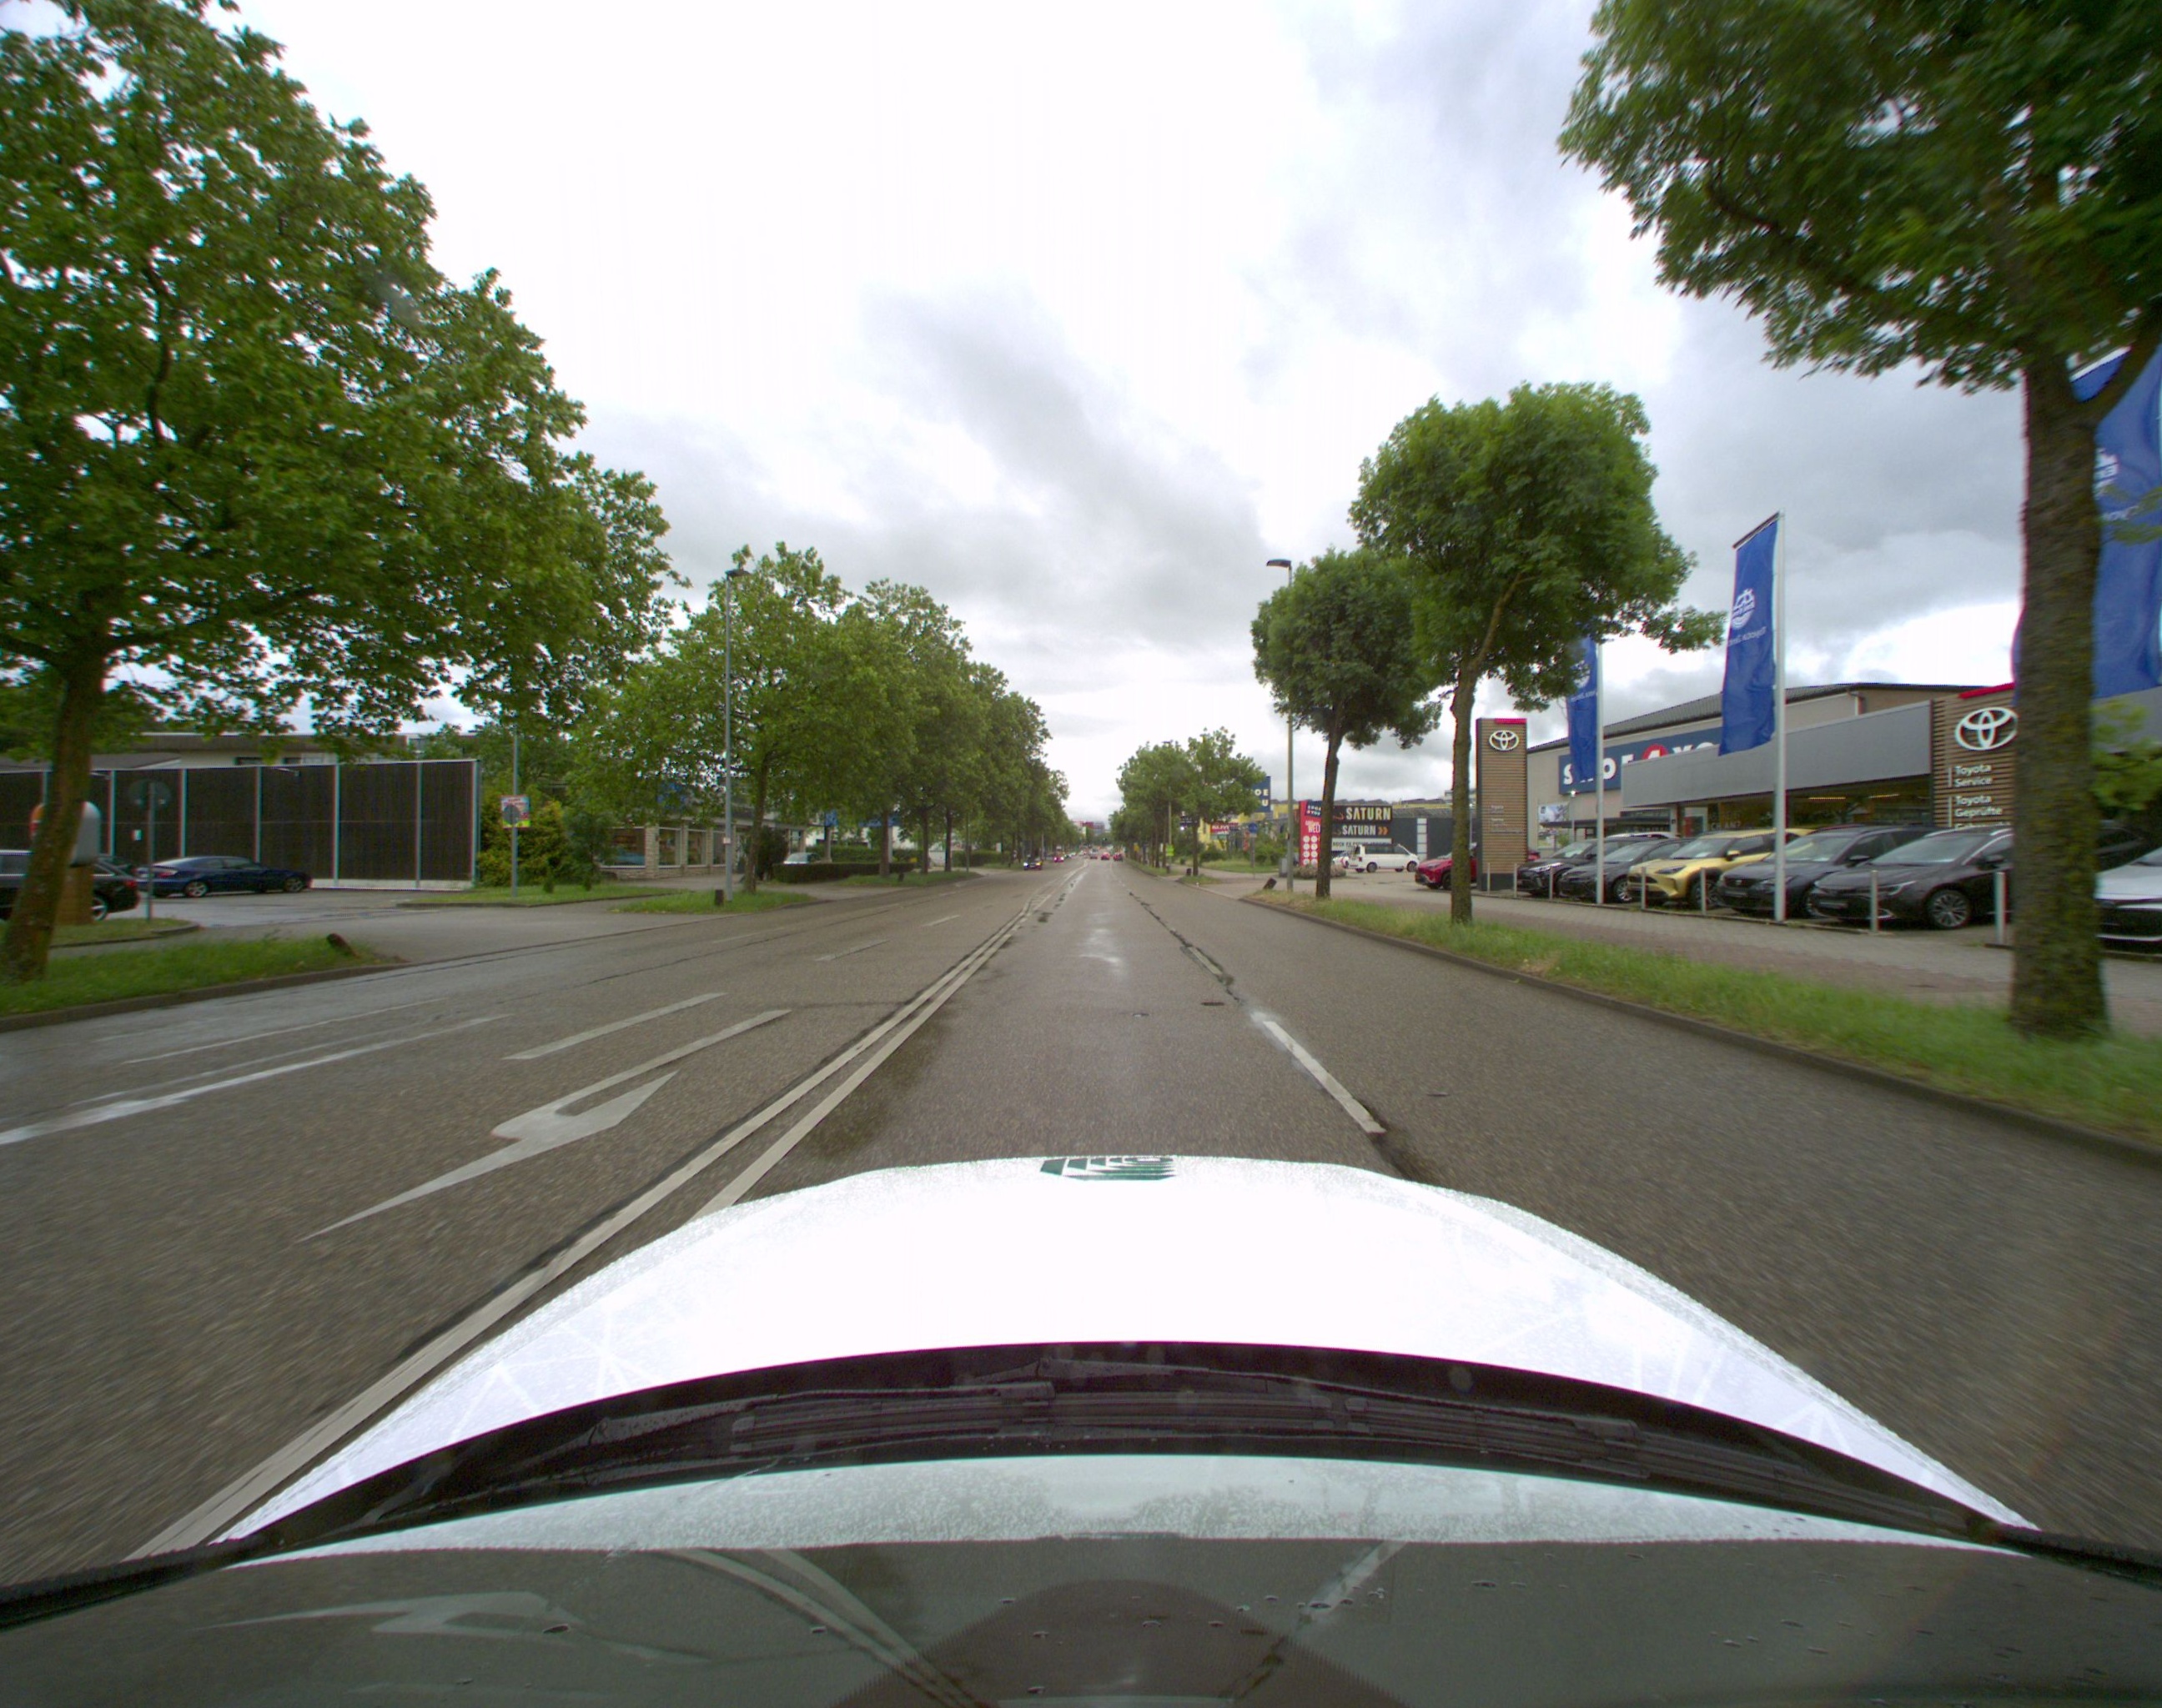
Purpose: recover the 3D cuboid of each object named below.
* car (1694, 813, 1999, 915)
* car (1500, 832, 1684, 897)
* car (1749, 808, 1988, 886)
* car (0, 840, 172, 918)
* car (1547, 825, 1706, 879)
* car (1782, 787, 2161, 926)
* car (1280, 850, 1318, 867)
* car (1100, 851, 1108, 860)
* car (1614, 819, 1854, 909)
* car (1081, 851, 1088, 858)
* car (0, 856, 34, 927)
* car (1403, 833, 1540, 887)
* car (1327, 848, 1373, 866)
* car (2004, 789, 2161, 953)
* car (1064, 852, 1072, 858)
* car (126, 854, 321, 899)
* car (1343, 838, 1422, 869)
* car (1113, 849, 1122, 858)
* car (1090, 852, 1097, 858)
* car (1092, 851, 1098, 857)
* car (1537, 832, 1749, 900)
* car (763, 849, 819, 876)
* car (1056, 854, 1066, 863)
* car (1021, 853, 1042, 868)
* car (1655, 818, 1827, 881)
[{"bbox_3d":[14.309,0.185,15.417,3.969,1.547,1.713,-4,0,4],"label":"car"},{"bbox_3d":[14.190,0.275,22.806,3.971,1.647,1.846,-1,0,2],"label":"car"},{"bbox_3d":[18.665,-0.155,19.618,1.866,1.621,4.126,-2,0,3],"label":"car"},{"bbox_3d":[-20.311,0.489,15.823,1.425,1.427,3.199,1,-2,10],"label":"car"},{"bbox_3d":[18.492,-0.069,27.782,4.088,1.621,1.884,-2,0,6],"label":"car"},{"bbox_3d":[14.007,0.044,12.952,3.969,1.786,1.814,-4,0,4],"label":"car"},{"bbox_3d":[18.301,0.351,68.440,1.576,1.428,4.255,-1,0,-8],"label":"car"},{"bbox_3d":[5.621,0.344,199.436,1.737,2.013,4.003,-2,0,3],"label":"car"},{"bbox_3d":[14.120,0.208,17.760,3.827,1.566,1.666,-4,0,-1],"label":"car"},{"bbox_3d":[0.949,0.070,235.335,1.986,2.013,4.001,-1,0,1],"label":"car"},{"bbox_3d":[-19.520,0.583,13.502,3.155,1.155,1.294,2,0,10],"label":"car"},{"bbox_3d":[13.486,0.208,28.302,3.826,1.603,1.796,-3,0,2],"label":"car"},{"bbox_3d":[23.229,0.268,70.486,1.879,1.468,4.939,-1,0,-8],"label":"car"},{"bbox_3d":[13.998,0.050,9.564,3.969,1.786,1.814,-5,0,4],"label":"car"},{"bbox_3d":[-3.760,0.409,237.026,1.696,1.737,4.004,-1,0,4],"label":"car"},{"bbox_3d":[-29.893,0.738,28.610,1.852,1.364,4.332,-1,1,14],"label":"car"},{"bbox_3d":[20.914,-0.024,56.563,4.818,2.014,1.985,-1,-1,-8],"label":"car"},{"bbox_3d":[7.863,-0.150,175.309,1.737,2.013,4.003,-1,0,3],"label":"car"},{"bbox_3d":[3.482,0.247,222.252,1.737,1.701,4.003,-1,0,3],"label":"car"},{"bbox_3d":[4.077,0.016,236.804,1.884,1.876,4.125,-1,0,2],"label":"car"},{"bbox_3d":[13.828,0.289,20.213,3.971,1.538,1.801,-1,0,2],"label":"car"},{"bbox_3d":[-16.896,0.485,47.647,1.817,1.486,3.940,-1,0,1],"label":"car"},{"bbox_3d":[-3.783,0.823,154.052,1.719,1.517,3.823,-1,0,2],"label":"car"},{"bbox_3d":[-5.100,0.636,84.591,1.797,1.463,3.848,-2,0,2],"label":"car"},{"bbox_3d":[19.228,-0.130,24.001,1.866,1.621,4.126,-2,0,3],"label":"car"}]
